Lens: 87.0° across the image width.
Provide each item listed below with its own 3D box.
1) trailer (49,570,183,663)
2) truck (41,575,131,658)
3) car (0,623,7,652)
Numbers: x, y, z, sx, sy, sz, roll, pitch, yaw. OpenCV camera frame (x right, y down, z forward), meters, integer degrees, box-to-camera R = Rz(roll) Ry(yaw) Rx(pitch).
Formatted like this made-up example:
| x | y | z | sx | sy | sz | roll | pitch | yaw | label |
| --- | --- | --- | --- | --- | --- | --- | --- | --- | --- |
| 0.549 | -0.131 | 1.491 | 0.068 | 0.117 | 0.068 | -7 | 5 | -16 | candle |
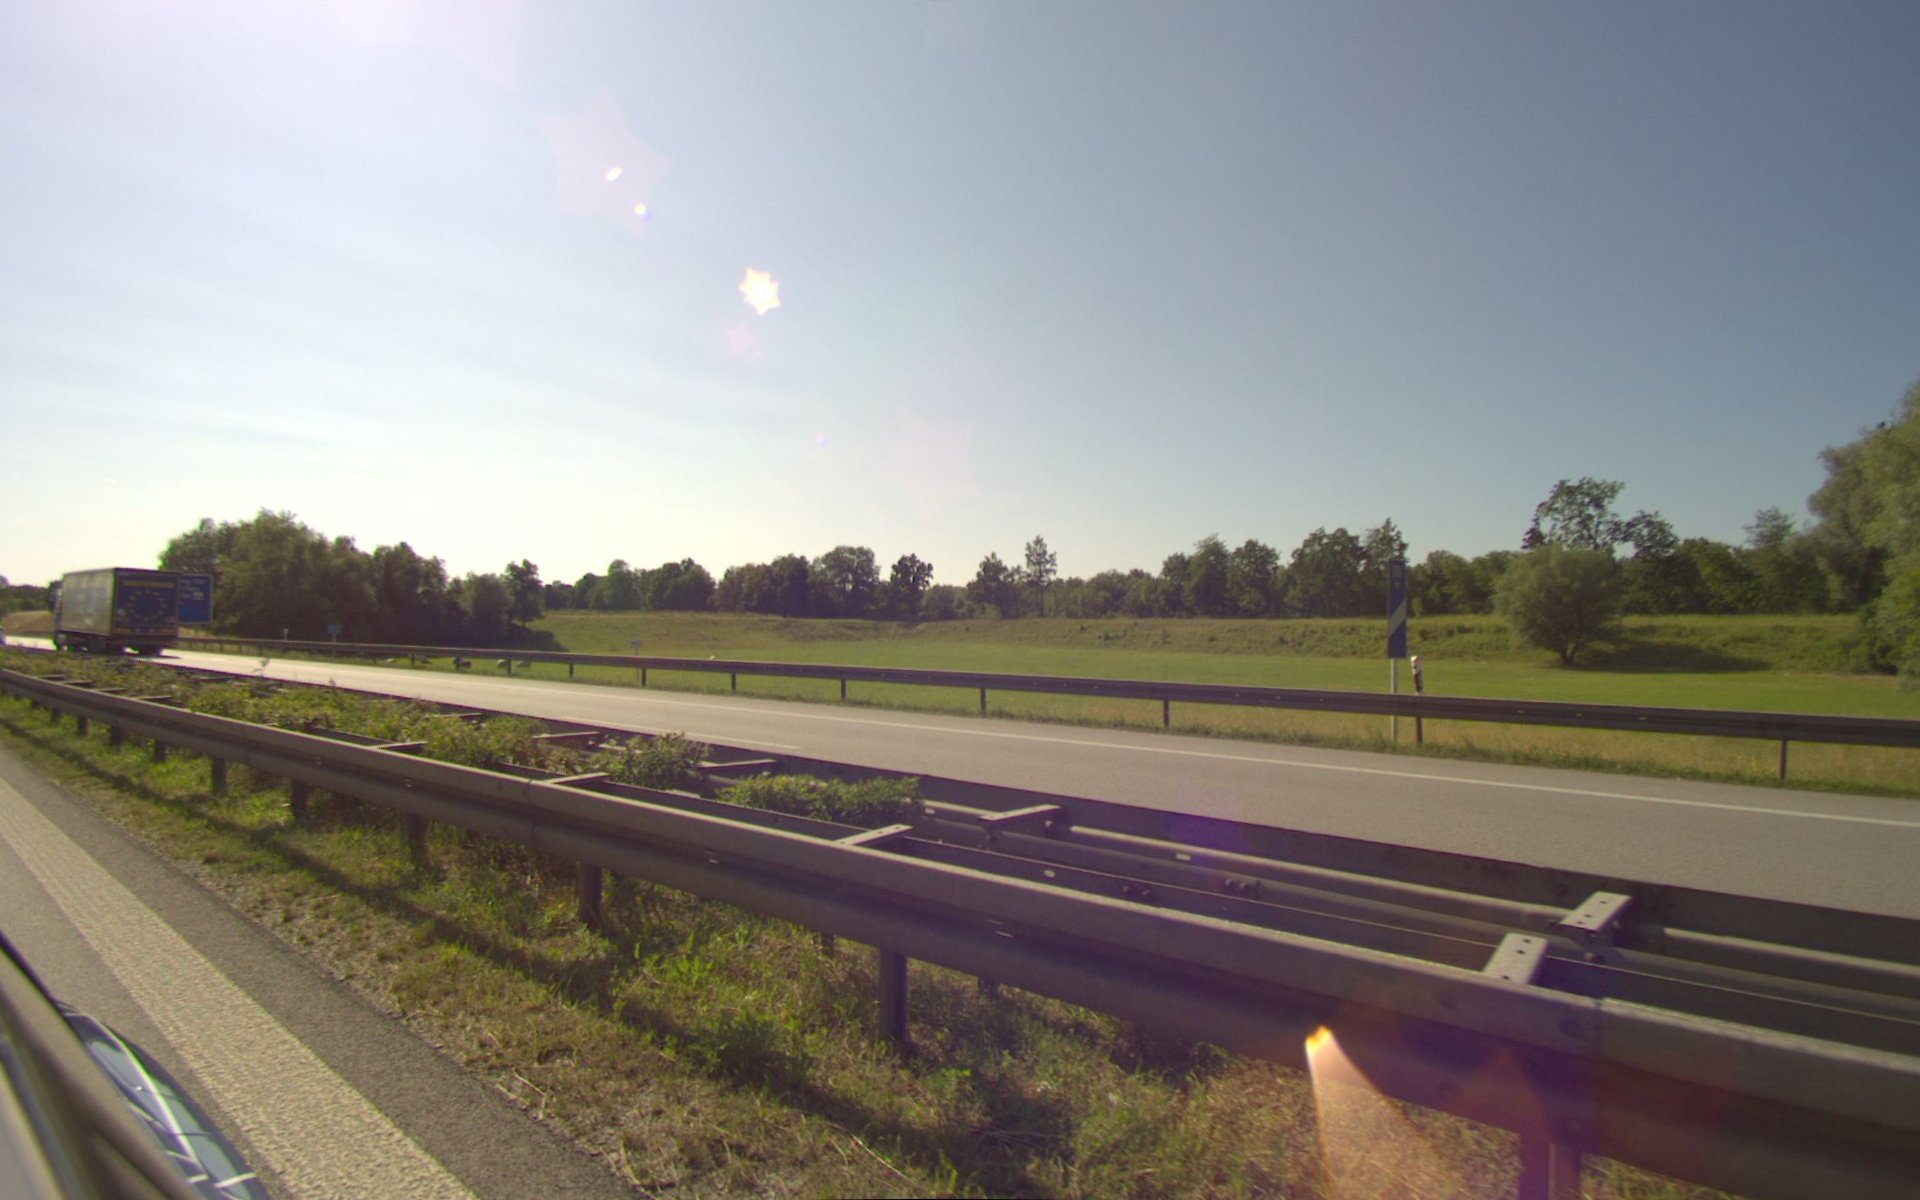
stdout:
| x | y | z | sx | sy | sz | roll | pitch | yaw | label |
| --- | --- | --- | --- | --- | --- | --- | --- | --- | --- |
| -43.026 | 0.926 | 51.326 | 14.384 | 4.192 | 2.759 | -1 | -3 | 41 | trailer |
| -48.276 | 0.956 | 55.845 | 6.330 | 4.335 | 2.712 | -1 | -3 | 40 | truck |
| -57.760 | 2.159 | 59.480 | 4.630 | 1.678 | 1.973 | -1 | -4 | 41 | car |
